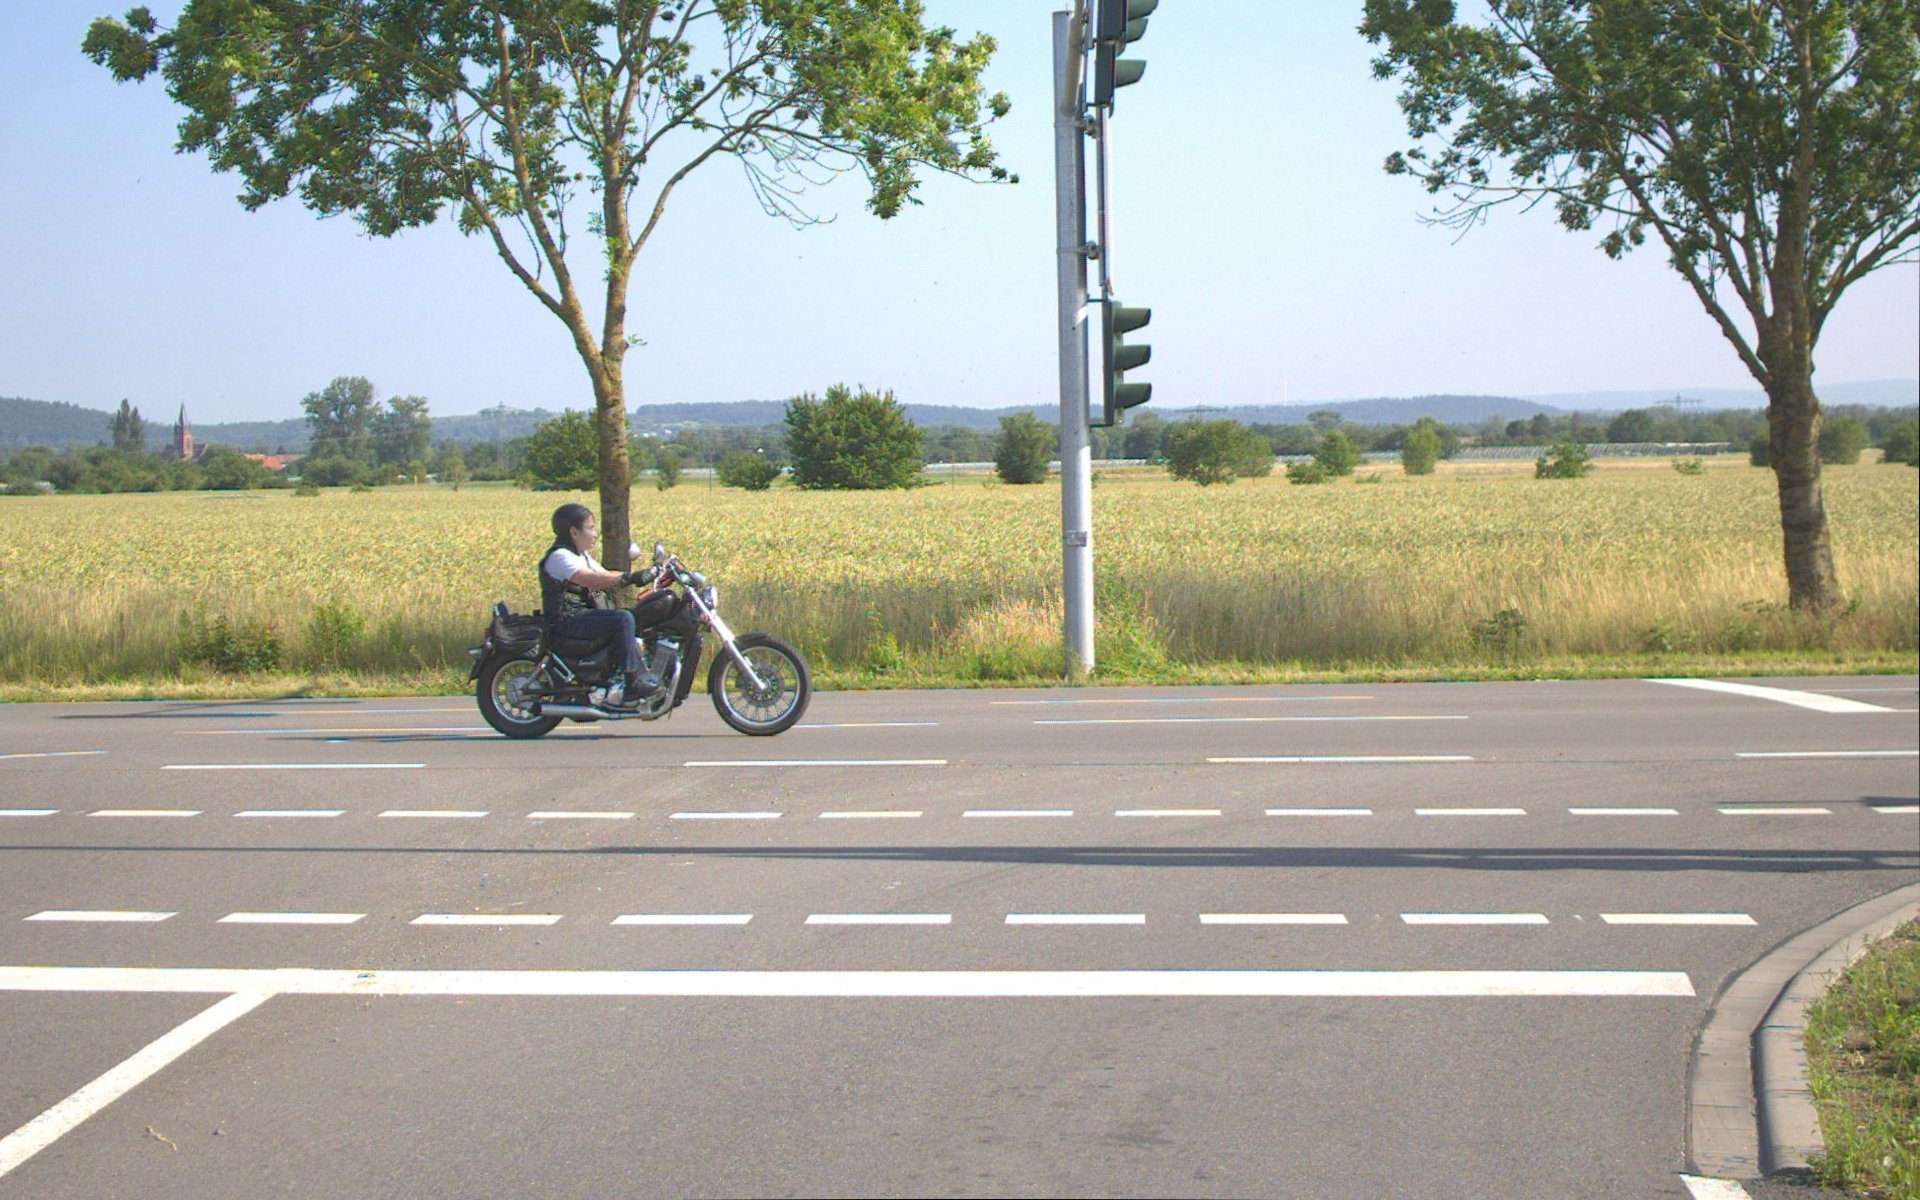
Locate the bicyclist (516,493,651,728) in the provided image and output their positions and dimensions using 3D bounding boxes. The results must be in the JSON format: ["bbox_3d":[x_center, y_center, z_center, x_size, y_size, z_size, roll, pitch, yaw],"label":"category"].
[{"bbox_3d":[-2.424,0.063,22.214,0.808,1.484,0.757,1,1,-3],"label":"bicyclist"}]

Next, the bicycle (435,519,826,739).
[{"bbox_3d":[-2.139,0.184,22.442,2.490,1.392,0.732,1,1,-4],"label":"bicycle"}]
